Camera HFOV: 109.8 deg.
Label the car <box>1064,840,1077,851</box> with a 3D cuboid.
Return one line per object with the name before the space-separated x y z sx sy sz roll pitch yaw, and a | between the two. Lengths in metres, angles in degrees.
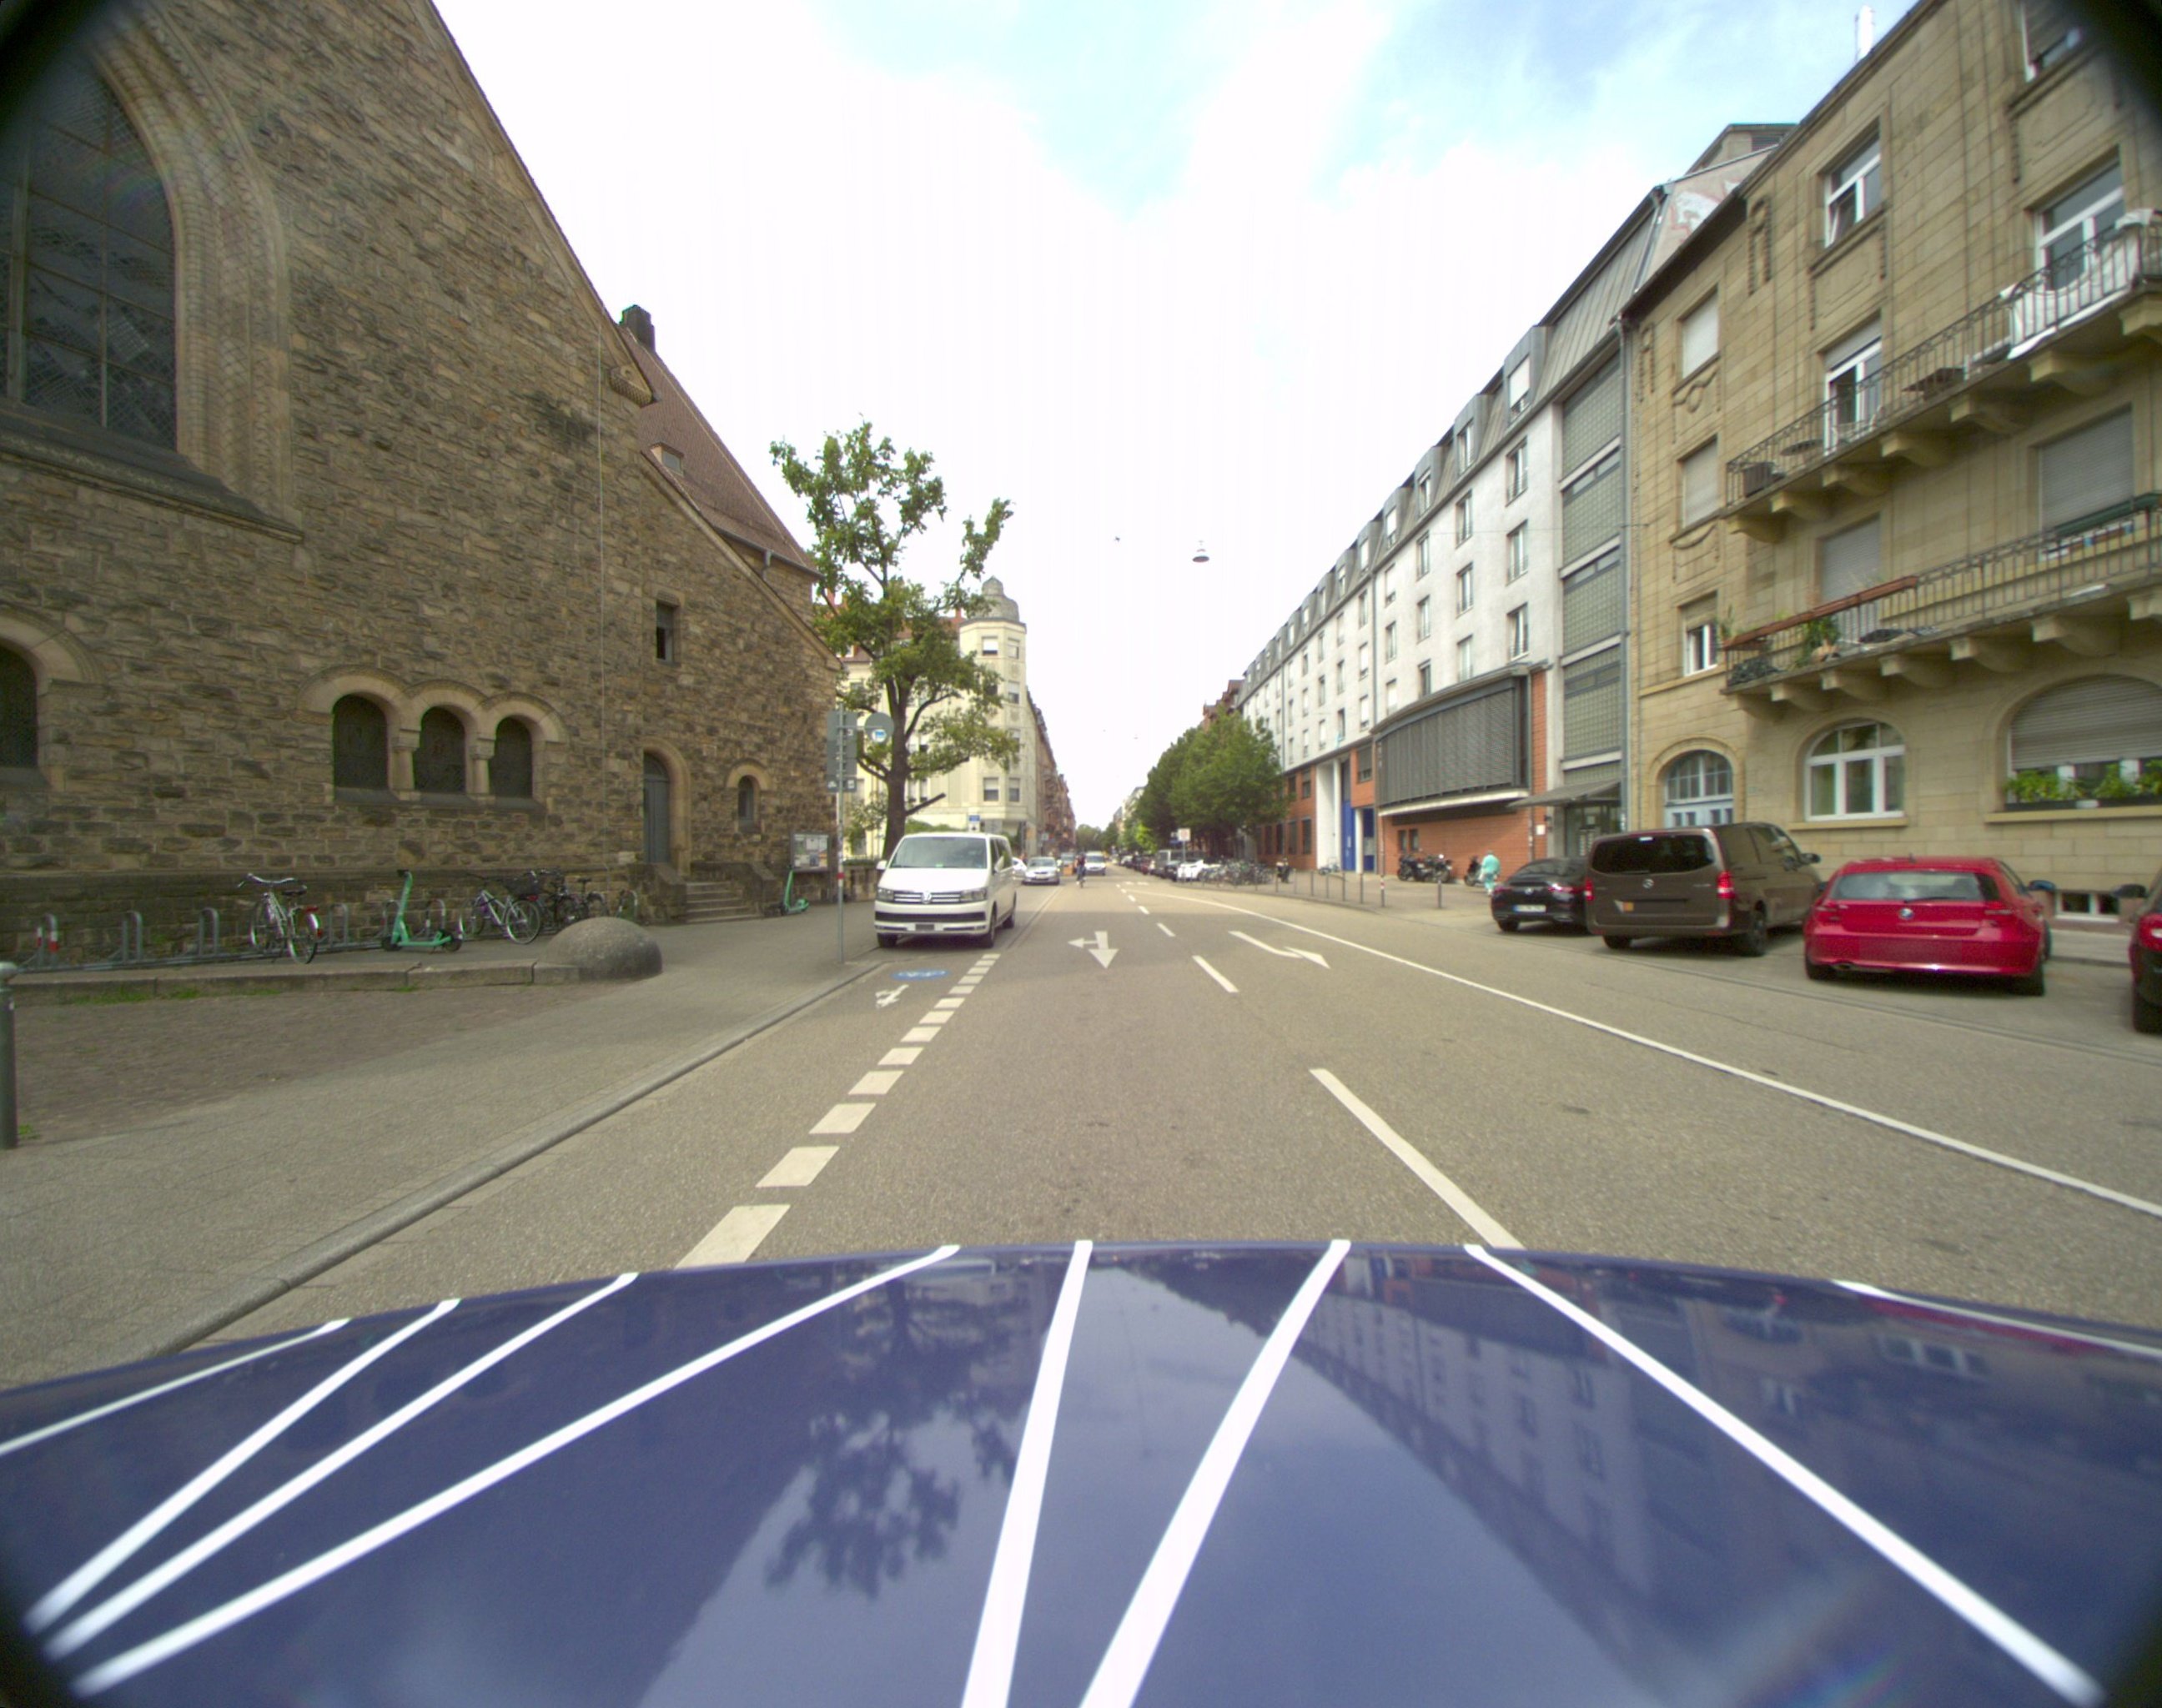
car | -1.497 -1.184 112.267 1.854 1.505 4.006 -1 -1 0

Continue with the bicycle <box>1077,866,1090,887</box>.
bicycle | 0.123 1.075 36.557 0.586 0.927 1.783 -1 -1 2

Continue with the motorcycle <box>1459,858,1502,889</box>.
motorcycle | 14.217 0.666 27.086 0.585 1.042 1.794 -2 0 2

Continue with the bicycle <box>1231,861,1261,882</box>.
bicycle | 8.503 0.896 39.206 1.409 1.020 0.402 -1 0 3

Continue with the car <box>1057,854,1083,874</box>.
car | -0.940 0.896 67.887 1.853 1.661 4.008 -1 -1 5

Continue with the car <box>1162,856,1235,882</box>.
car | 7.243 0.886 46.725 4.324 1.460 1.713 -1 0 -33

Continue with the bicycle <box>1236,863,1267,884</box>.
bicycle | 8.509 0.971 37.903 1.409 1.020 0.402 -1 0 3

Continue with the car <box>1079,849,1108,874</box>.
car | 1.033 0.616 60.212 1.942 1.913 4.008 -1 -1 5

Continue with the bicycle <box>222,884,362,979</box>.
bicycle | -10.049 0.949 9.670 1.778 1.105 0.547 0 0 20

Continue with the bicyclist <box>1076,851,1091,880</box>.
bicyclist | 0.134 0.552 36.703 0.649 1.408 1.094 -1 0 2

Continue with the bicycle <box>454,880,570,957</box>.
bicycle | -8.908 0.982 11.890 1.778 1.105 0.547 0 0 20

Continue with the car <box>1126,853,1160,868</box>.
car | 7.897 0.813 96.286 4.012 1.846 1.687 -1 -1 -32

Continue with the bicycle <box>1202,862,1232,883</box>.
bicycle | 7.043 0.945 39.405 1.409 1.020 0.402 -3 0 3

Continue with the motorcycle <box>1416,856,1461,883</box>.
motorcycle | 14.457 0.630 30.786 0.585 1.042 1.965 -2 0 -10

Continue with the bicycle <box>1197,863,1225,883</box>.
bicycle | 7.091 1.020 41.487 1.409 1.020 0.402 -3 0 3

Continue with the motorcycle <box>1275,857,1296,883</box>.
motorcycle | 9.834 0.762 36.554 0.585 1.166 1.780 -2 0 3

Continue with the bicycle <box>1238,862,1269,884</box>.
bicycle | 8.477 0.917 37.367 1.409 1.020 0.402 -1 0 3

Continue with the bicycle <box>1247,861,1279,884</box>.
bicycle | 8.667 0.869 36.120 1.409 1.020 0.402 -1 0 3

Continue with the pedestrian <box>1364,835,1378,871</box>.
pedestrian | 16.311 -0.075 42.763 0.729 2.002 0.783 0 0 20

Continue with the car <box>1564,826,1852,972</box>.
car | 10.233 0.571 12.268 5.280 1.899 2.116 -1 0 -33

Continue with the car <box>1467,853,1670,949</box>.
car | 9.790 0.833 15.117 4.679 1.401 1.895 -4 0 -38

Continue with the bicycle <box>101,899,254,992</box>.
bicycle | -10.499 1.030 8.823 1.778 0.951 0.547 0 0 20

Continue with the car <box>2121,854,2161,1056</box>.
car | 10.196 0.757 6.348 4.004 1.494 1.627 -1 0 -34

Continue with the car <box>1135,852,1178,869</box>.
car | 7.371 0.593 74.166 4.013 1.559 1.687 -1 0 -32

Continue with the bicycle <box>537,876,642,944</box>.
bicycle | -8.467 0.936 13.080 1.778 1.105 0.547 0 0 20

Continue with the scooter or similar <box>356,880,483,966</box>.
scooter or similar | -9.397 0.944 10.792 1.778 1.133 0.547 0 0 20

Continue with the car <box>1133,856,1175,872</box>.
car | 7.442 1.027 76.891 4.012 1.558 1.687 -1 -1 -32

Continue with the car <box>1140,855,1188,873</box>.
car | 7.223 0.857 66.066 4.012 1.445 1.687 -1 -1 -32

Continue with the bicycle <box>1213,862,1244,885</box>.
bicycle | 7.129 0.944 36.760 1.409 1.032 0.402 -3 0 3

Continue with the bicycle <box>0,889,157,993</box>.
bicycle | -10.798 0.898 8.158 1.778 0.952 0.547 2 1 20

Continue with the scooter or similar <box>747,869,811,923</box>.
scooter or similar | -7.158 0.977 18.093 0.545 1.200 1.483 0 0 21

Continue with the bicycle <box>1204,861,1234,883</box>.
bicycle | 7.036 0.900 38.763 1.409 1.032 0.402 -3 0 3

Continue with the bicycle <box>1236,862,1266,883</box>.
bicycle | 8.580 0.912 38.387 1.409 1.020 0.402 -1 0 3

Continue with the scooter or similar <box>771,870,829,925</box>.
scooter or similar | -6.549 0.992 17.788 0.545 1.200 1.444 0 0 14

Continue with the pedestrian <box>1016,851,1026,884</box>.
pedestrian | -3.123 0.712 39.564 0.468 1.725 0.410 0 0 0

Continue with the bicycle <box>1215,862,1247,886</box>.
bicycle | 7.082 0.948 35.871 1.409 1.032 0.402 -3 0 3

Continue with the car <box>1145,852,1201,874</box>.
car | 7.039 0.675 58.155 4.012 1.605 1.708 -1 -1 -32

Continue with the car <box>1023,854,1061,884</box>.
car | -1.960 0.764 39.654 1.759 1.460 4.418 0 0 0

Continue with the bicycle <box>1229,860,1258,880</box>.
bicycle | 8.507 0.845 39.691 1.409 1.020 0.402 -1 0 3

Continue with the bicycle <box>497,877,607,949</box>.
bicycle | -8.676 0.938 12.464 1.771 1.105 0.547 0 0 20

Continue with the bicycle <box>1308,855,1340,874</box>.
bicycle | 14.130 0.634 44.249 1.613 0.920 0.932 -6 -1 13

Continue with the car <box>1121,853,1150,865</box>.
car | 8.220 0.726 114.448 4.012 1.746 1.687 -1 -1 -32

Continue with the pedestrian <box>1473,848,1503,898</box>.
pedestrian | 12.217 0.574 22.811 0.661 1.477 0.509 -1 0 11

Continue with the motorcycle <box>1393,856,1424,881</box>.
motorcycle | 14.303 0.625 33.206 0.585 1.042 1.657 -2 0 0

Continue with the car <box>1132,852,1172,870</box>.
car | 7.779 0.742 83.215 4.052 1.846 1.687 -1 -1 -32

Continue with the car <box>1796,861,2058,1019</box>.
car | 10.113 0.821 9.003 4.020 1.401 1.792 -1 0 -38

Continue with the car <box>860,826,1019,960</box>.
car | -2.355 0.587 14.097 2.019 2.017 5.123 1 0 0

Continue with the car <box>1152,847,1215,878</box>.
car | 7.130 0.560 52.720 4.011 1.986 1.857 -3 1 -30

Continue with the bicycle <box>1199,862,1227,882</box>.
bicycle | 7.073 0.962 40.678 1.409 1.020 0.402 -3 0 3

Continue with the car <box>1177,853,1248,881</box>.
car | 7.709 0.719 44.431 4.013 1.536 1.598 -1 0 -33

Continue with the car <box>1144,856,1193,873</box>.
car | 7.358 0.868 63.886 4.012 1.381 1.592 -1 -1 -32
